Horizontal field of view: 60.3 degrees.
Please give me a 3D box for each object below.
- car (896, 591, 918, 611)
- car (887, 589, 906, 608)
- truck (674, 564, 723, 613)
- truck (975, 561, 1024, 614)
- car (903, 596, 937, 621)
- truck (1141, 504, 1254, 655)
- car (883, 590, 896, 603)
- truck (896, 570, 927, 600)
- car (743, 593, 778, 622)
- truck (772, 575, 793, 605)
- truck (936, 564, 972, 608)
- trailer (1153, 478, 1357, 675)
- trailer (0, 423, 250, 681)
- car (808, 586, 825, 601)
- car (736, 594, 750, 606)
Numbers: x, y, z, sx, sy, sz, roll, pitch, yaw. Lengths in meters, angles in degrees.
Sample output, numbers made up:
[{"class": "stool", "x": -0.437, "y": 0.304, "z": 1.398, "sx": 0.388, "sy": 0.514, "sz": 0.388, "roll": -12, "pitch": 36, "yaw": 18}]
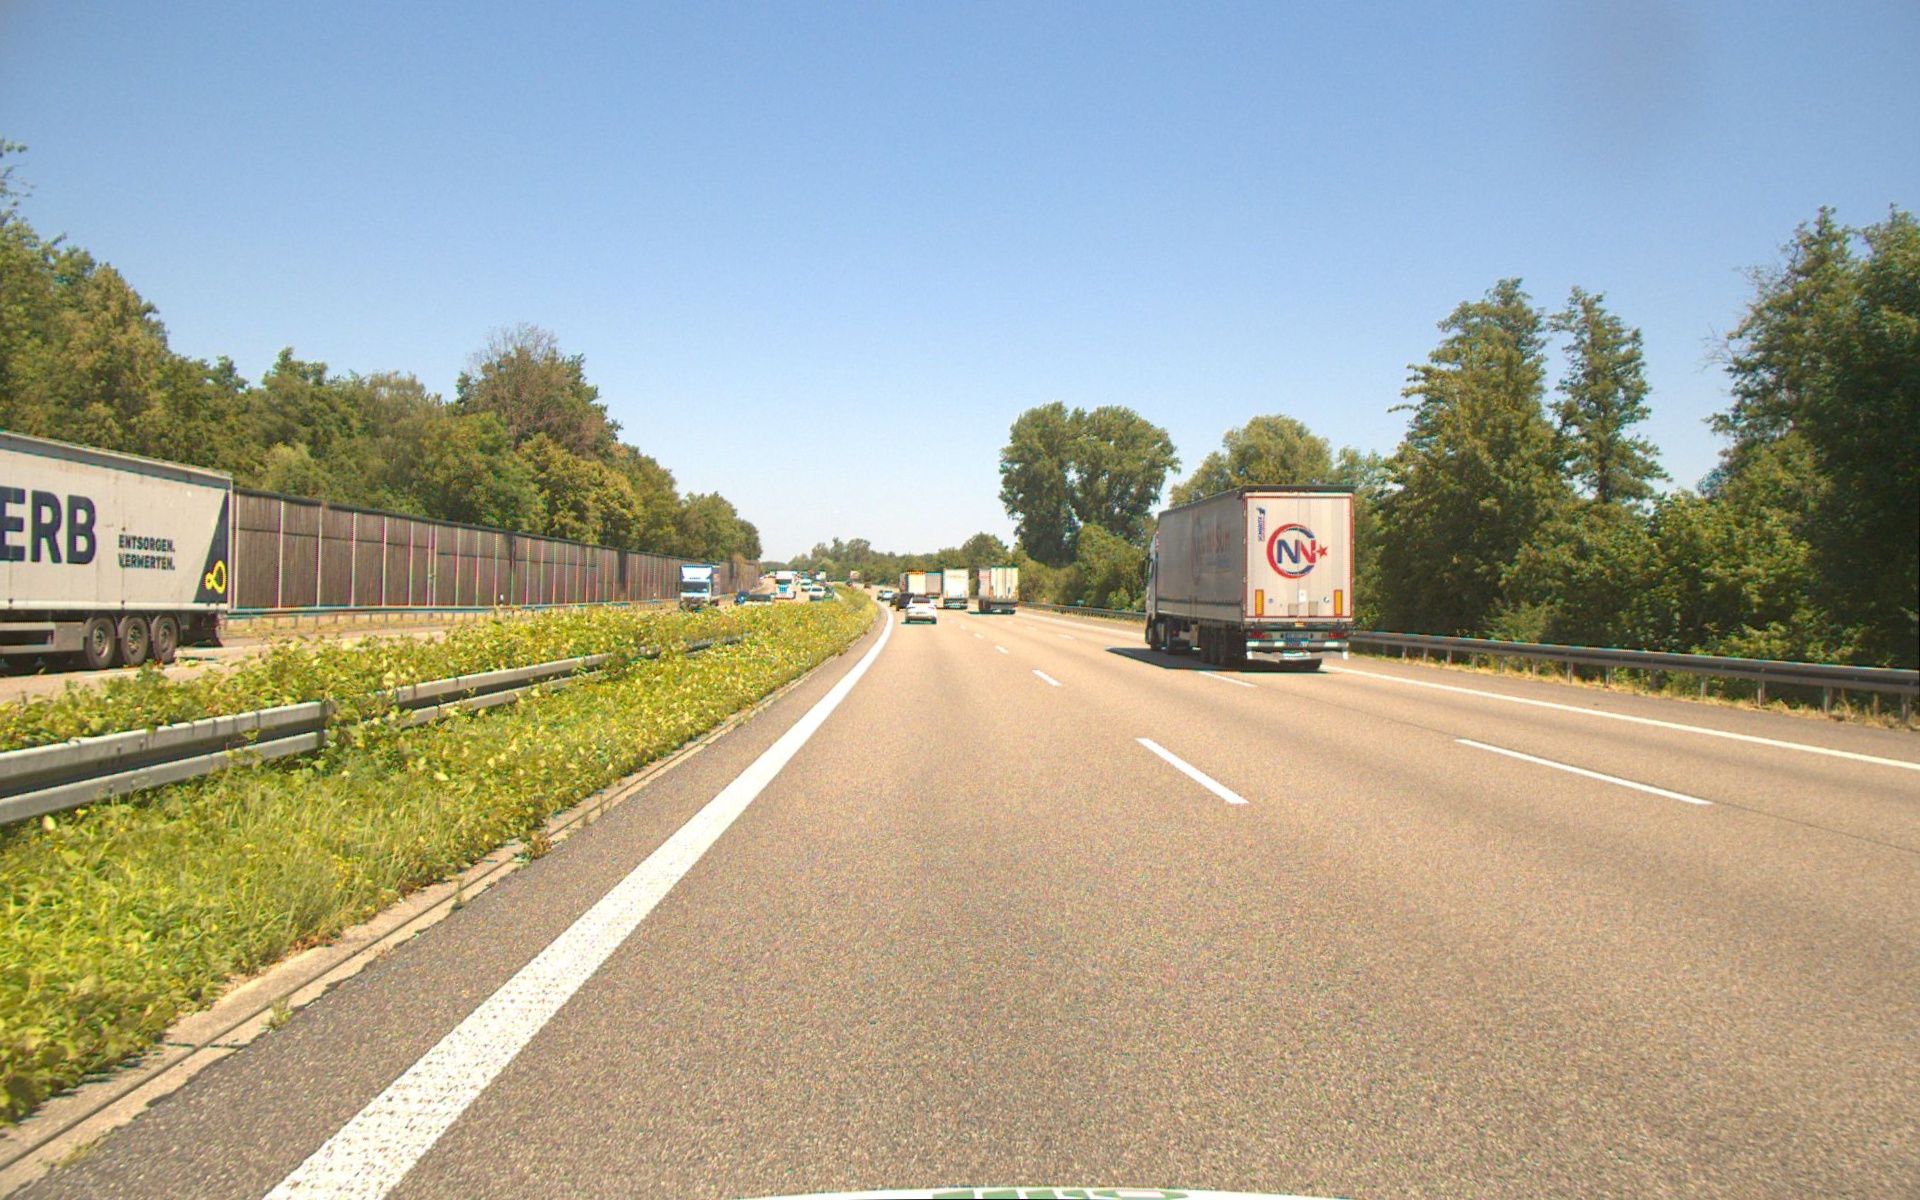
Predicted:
[{"class": "car", "x": -4.946, "y": 0.089, "z": 153.277, "sx": 1.954, "sy": 1.803, "sz": 3.998, "roll": 1, "pitch": 0, "yaw": -3}, {"class": "car", "x": -7.133, "y": -0.197, "z": 185.708, "sx": 1.954, "sy": 2.049, "sz": 3.997, "roll": 1, "pitch": 0, "yaw": -3}, {"class": "truck", "x": -20.626, "y": -0.896, "z": 130.827, "sx": 2.776, "sy": 3.672, "sz": 8.740, "roll": 1, "pitch": 0, "yaw": -2}, {"class": "truck", "x": 3.355, "y": -1.086, "z": 144.007, "sx": 3.422, "sy": 4.386, "sz": 10.983, "roll": 1, "pitch": 0, "yaw": -3}, {"class": "car", "x": -2.291, "y": 0.505, "z": 96.216, "sx": 1.679, "sy": 1.393, "sz": 3.376, "roll": 1, "pitch": 0, "yaw": 4}, {"class": "truck", "x": 7.202, "y": -0.589, "z": 50.856, "sx": 2.553, "sy": 4.362, "sz": 5.434, "roll": 1, "pitch": 0, "yaw": -1}, {"class": "car", "x": -10.051, "y": -0.488, "z": 235.120, "sx": 1.689, "sy": 1.814, "sz": 3.997, "roll": 1, "pitch": 0, "yaw": -3}, {"class": "truck", "x": -7.348, "y": -2.286, "z": 249.932, "sx": 3.512, "sy": 4.386, "sz": 12.171, "roll": 1, "pitch": 0, "yaw": -7}, {"class": "car", "x": -11.432, "y": 0.418, "z": 94.909, "sx": 1.551, "sy": 1.616, "sz": 3.999, "roll": 1, "pitch": 0, "yaw": -1}, {"class": "truck", "x": -25.911, "y": -1.443, "z": 241.230, "sx": 2.676, "sy": 4.266, "sz": 6.032, "roll": 1, "pitch": 0, "yaw": -3}, {"class": "truck", "x": -0.656, "y": -1.414, "z": 172.469, "sx": 3.292, "sy": 4.386, "sz": 10.823, "roll": 1, "pitch": 0, "yaw": -3}, {"class": "trailer", "x": 7.363, "y": -0.523, "z": 43.711, "sx": 2.571, "sy": 4.335, "sz": 14.057, "roll": 1, "pitch": 0, "yaw": -1}, {"class": "trailer", "x": -16.935, "y": -0.796, "z": 30.056, "sx": 2.434, "sy": 4.208, "sz": 13.649, "roll": 1, "pitch": 0, "yaw": -1}, {"class": "car", "x": -18.683, "y": -0.848, "z": 215.599, "sx": 1.887, "sy": 1.979, "sz": 4.607, "roll": 1, "pitch": 0, "yaw": -2}, {"class": "car", "x": -23.133, "y": -0.022, "z": 176.120, "sx": 1.254, "sy": 1.277, "sz": 3.026, "roll": 1, "pitch": 0, "yaw": -3}]
